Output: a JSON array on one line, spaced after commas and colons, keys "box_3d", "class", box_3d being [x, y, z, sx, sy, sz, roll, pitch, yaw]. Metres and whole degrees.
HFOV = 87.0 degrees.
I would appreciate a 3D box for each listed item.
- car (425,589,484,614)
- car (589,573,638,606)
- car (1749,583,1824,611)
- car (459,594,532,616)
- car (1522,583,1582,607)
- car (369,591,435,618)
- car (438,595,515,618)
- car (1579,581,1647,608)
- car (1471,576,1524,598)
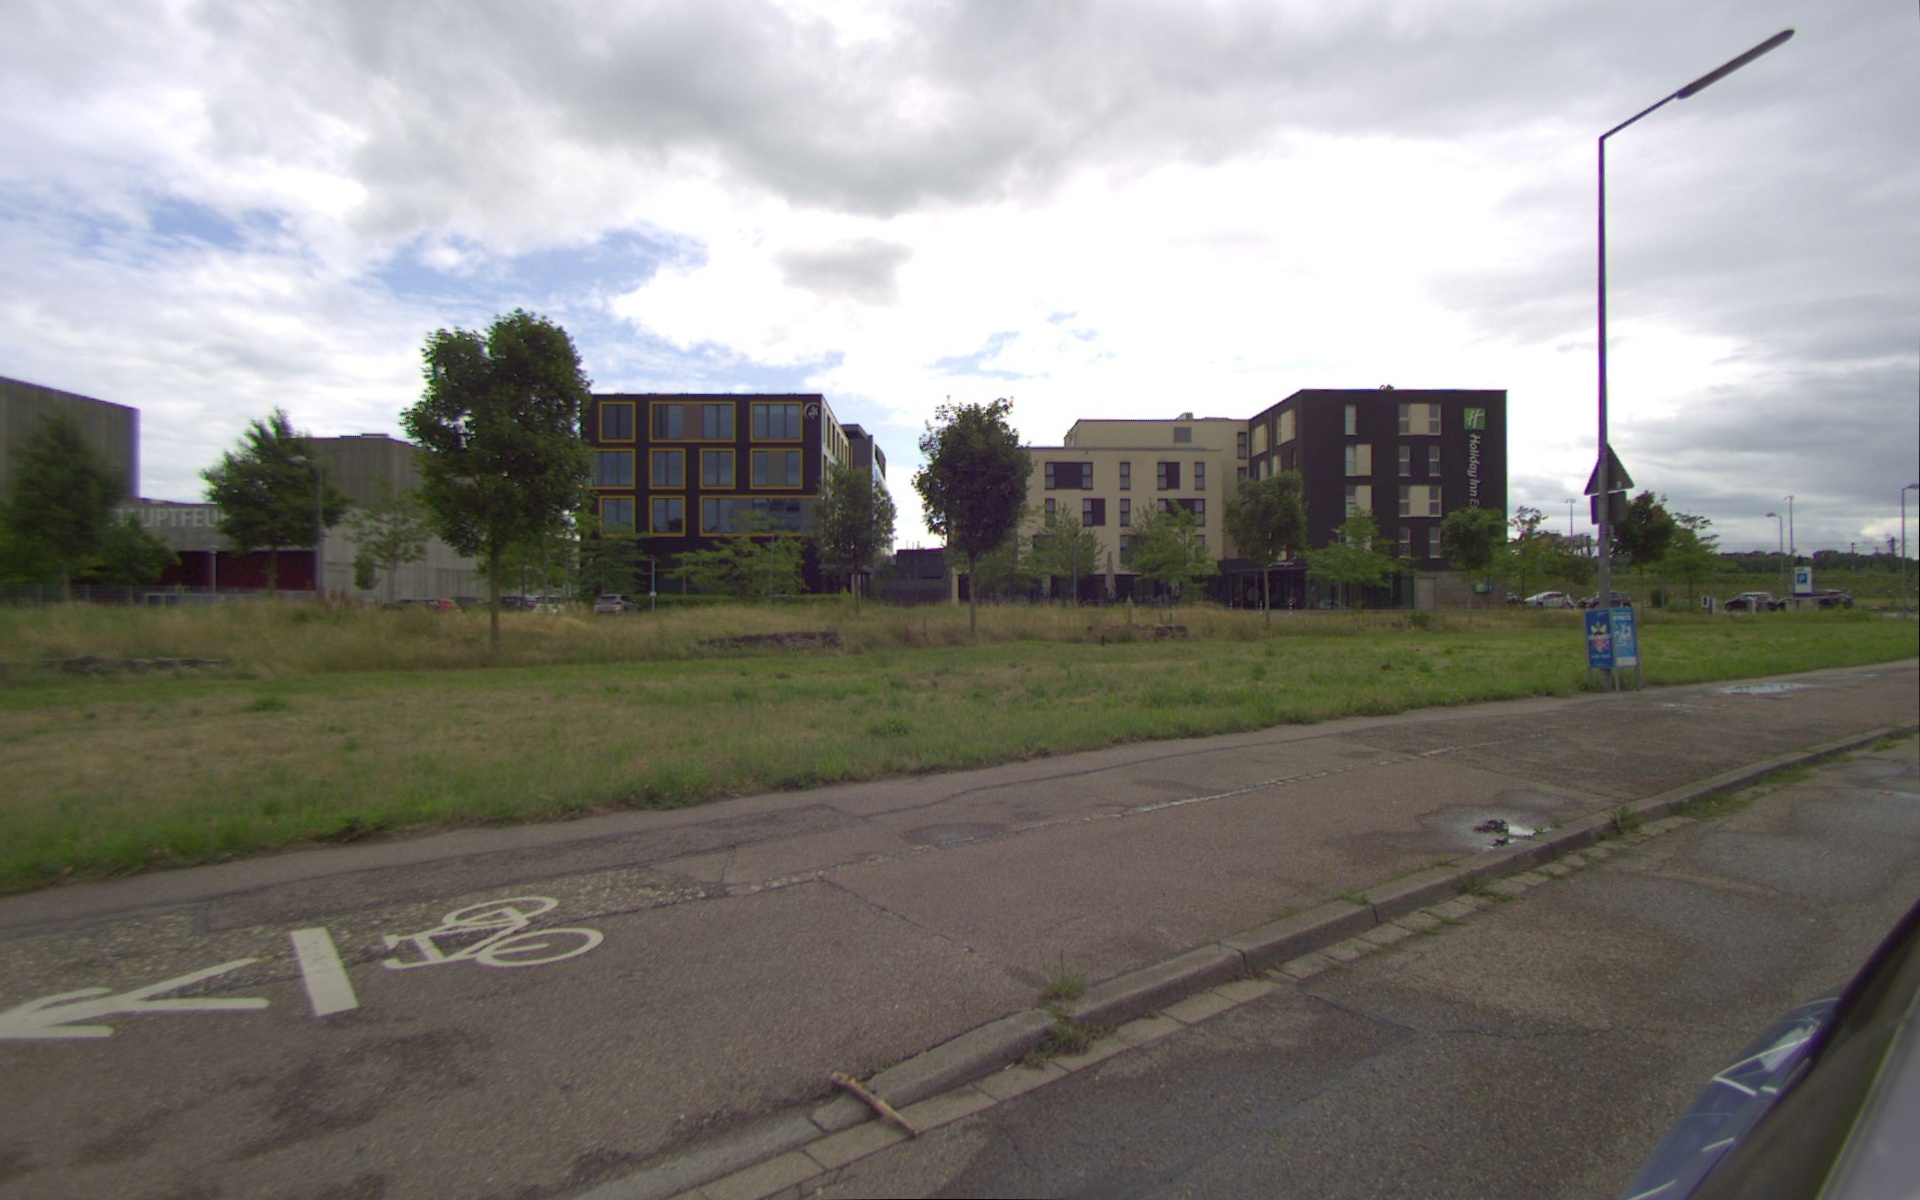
[{"box_3d": [-41.750, 0.107, 83.614, 3.919, 2.039, 2.002, 0, 0, -6], "class": "car"}, {"box_3d": [-21.545, -0.650, 63.038, 1.960, 2.039, 4.003, 0, 0, -4], "class": "car"}, {"box_3d": [61.685, -0.219, 75.558, 3.922, 2.039, 2.001, 0, 0, -2], "class": "car"}, {"box_3d": [-29.344, 0.327, 63.957, 3.927, 1.349, 1.562, 0, 0, 4], "class": "car"}, {"box_3d": [50.077, -0.427, 85.672, 3.922, 2.039, 2.001, 0, 0, -2], "class": "car"}, {"box_3d": [-41.911, 0.316, 76.052, 3.919, 2.039, 2.002, 0, 0, -6], "class": "car"}, {"box_3d": [-29.350, 0.384, 61.481, 3.927, 1.349, 1.562, 0, 0, 4], "class": "car"}, {"box_3d": [50.424, -0.457, 78.189, 3.922, 2.039, 2.001, 0, 0, -2], "class": "car"}, {"box_3d": [50.333, -1.229, 94.853, 3.923, 2.039, 2.001, 0, 0, -1], "class": "car"}]
